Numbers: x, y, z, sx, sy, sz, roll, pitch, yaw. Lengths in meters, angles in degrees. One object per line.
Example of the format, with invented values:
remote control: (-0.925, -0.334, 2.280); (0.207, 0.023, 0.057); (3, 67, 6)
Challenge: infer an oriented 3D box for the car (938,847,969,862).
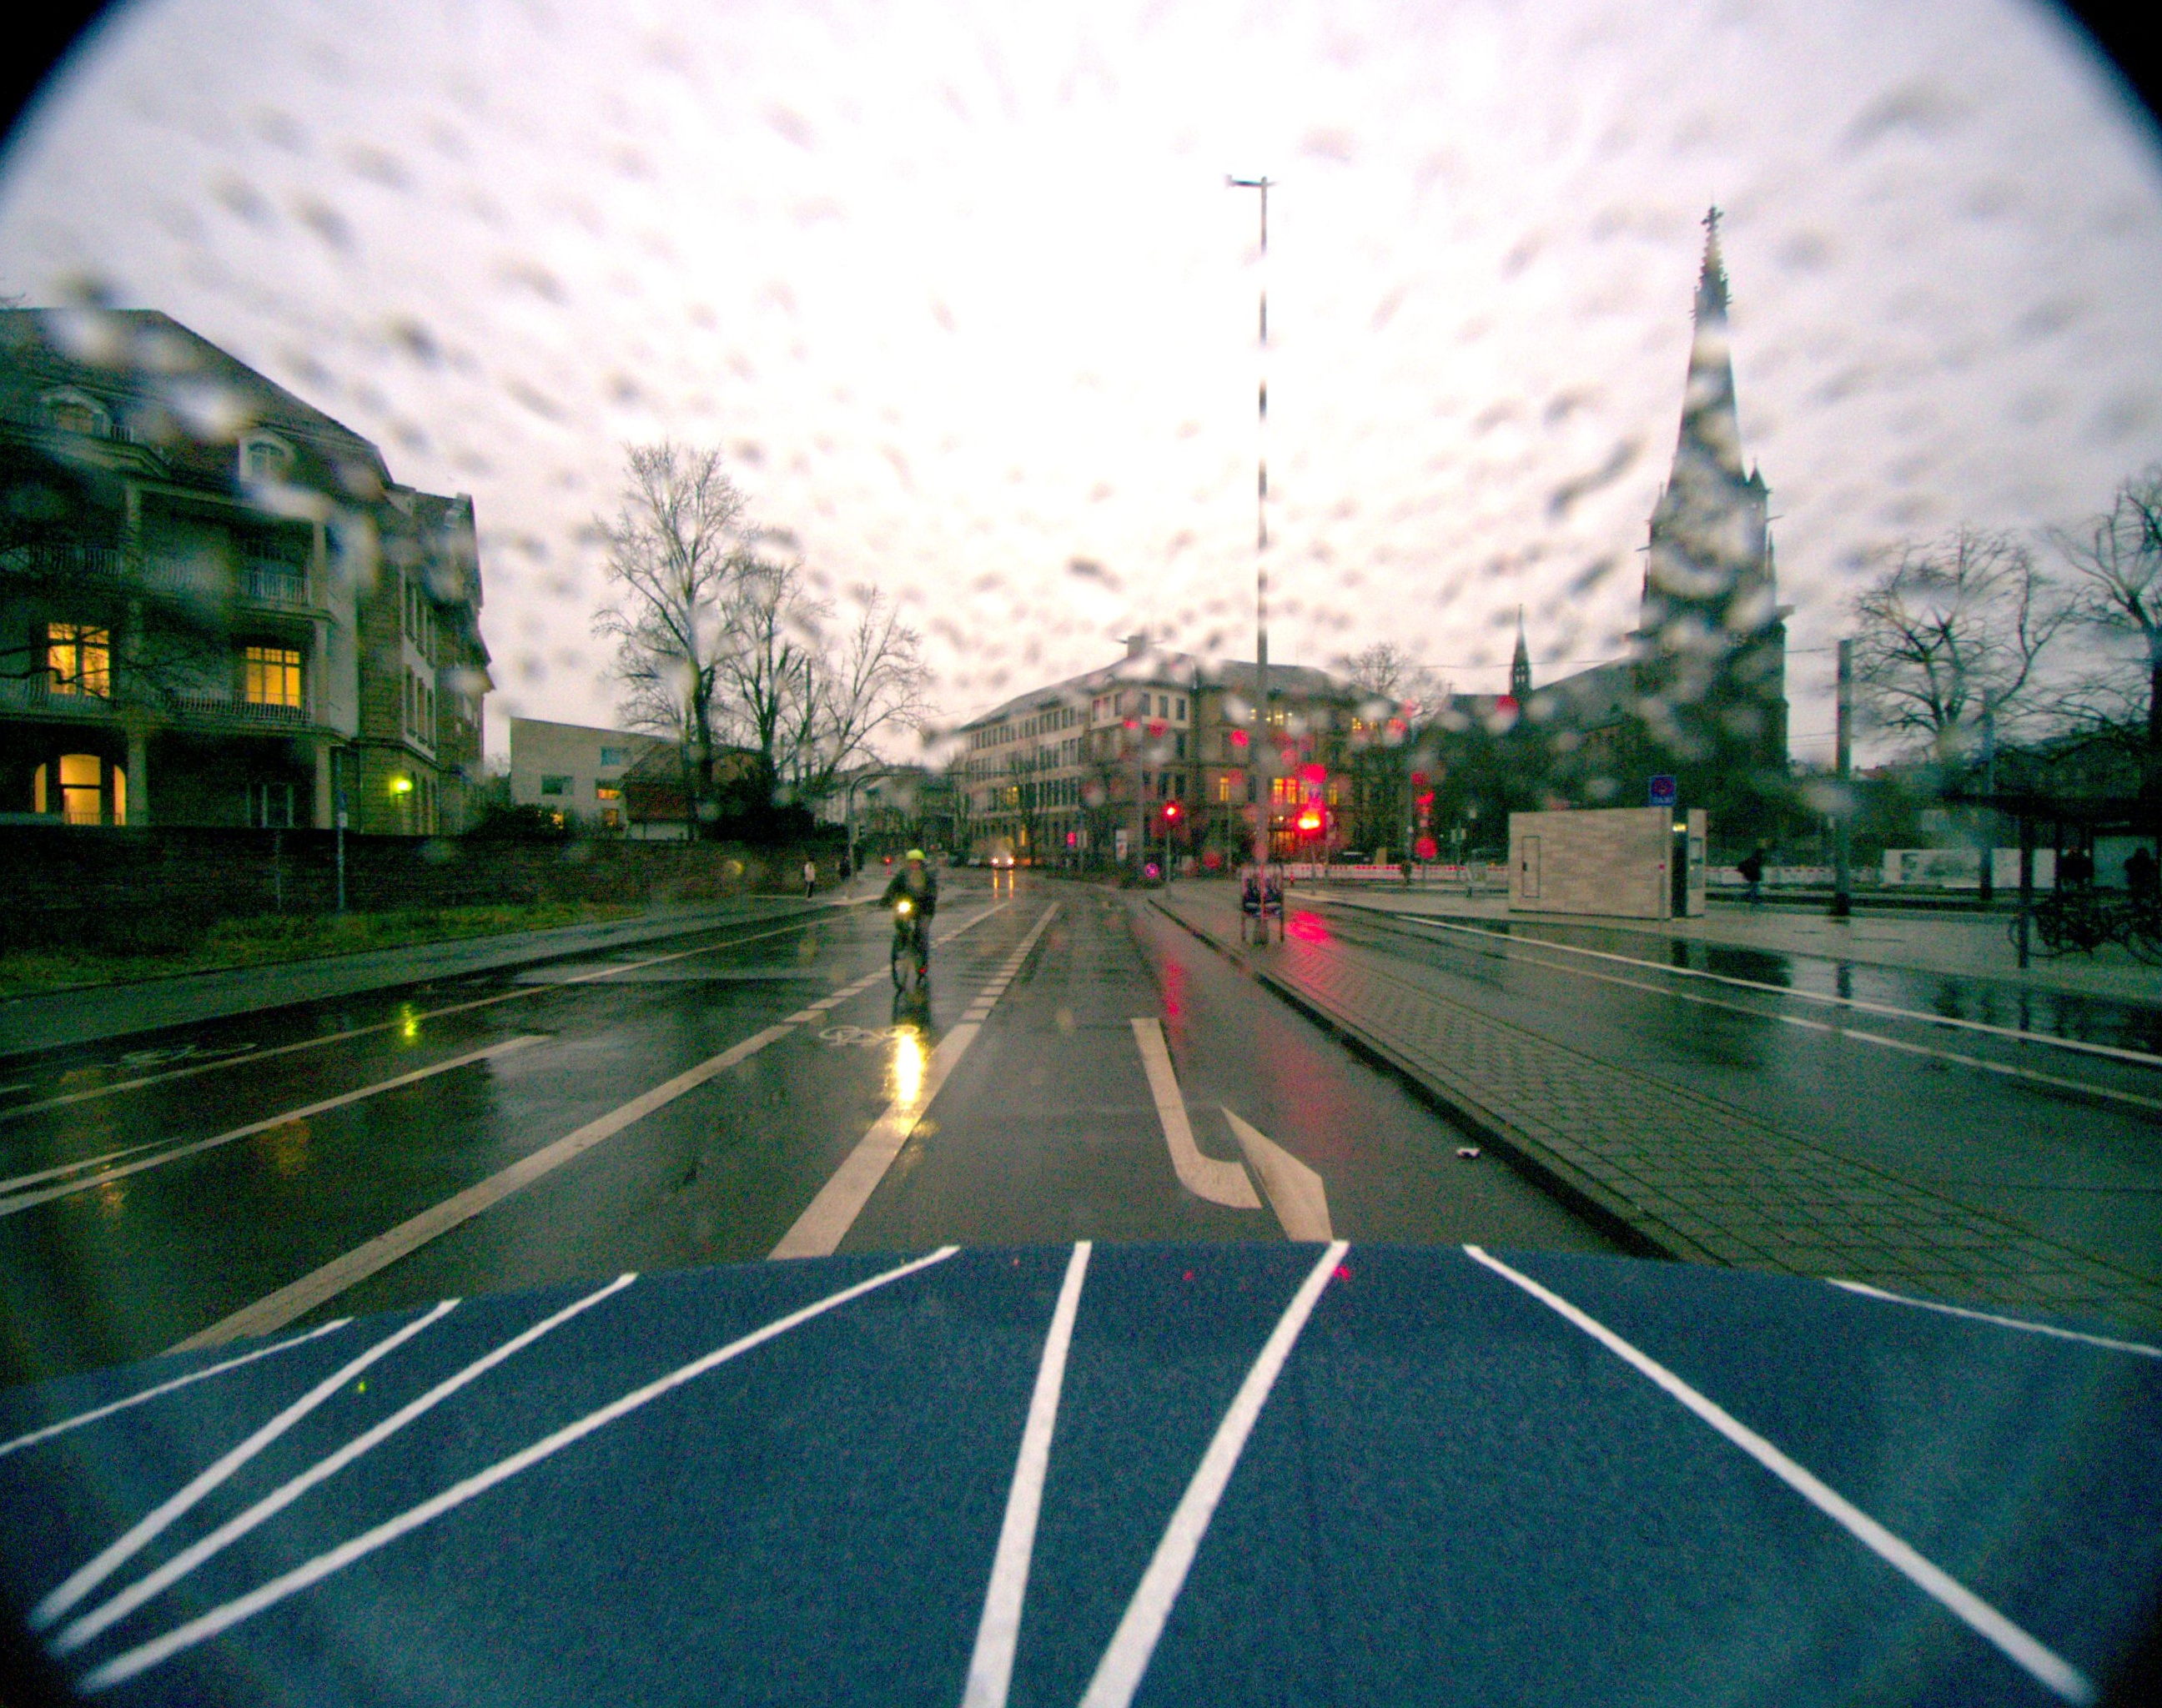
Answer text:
car: (-16.999, 0.066, 101.467); (2.043, 1.889, 4.007); (-2, 1, 28)

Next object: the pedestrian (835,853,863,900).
pedestrian: (-9.506, 0.933, 31.171); (1.000, 1.890, 0.673); (1, 1, -8)

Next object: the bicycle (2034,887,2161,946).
bicycle: (19.689, 1.171, 14.424); (0.475, 0.980, 1.921); (-2, 2, -30)

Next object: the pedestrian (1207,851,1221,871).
pedestrian: (11.889, 0.621, 67.827); (0.829, 1.714, 0.926); (0, 0, -31)

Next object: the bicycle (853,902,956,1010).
bicycle: (-2.175, 1.226, 9.664); (0.785, 1.069, 1.957); (-2, 1, 1)

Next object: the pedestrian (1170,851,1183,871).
pedestrian: (8.504, 0.639, 67.927); (0.675, 1.806, 0.895); (0, 1, -36)

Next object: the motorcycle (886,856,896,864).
motorcycle: (-25.997, 0.850, 104.011); (0.714, 1.048, 2.162); (0, 0, -34)

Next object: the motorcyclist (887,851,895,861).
motorcyclist: (-26.007, 0.311, 104.030); (0.702, 1.375, 0.864); (0, 0, -34)

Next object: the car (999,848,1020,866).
car: (-7.803, 0.295, 83.135); (1.883, 1.835, 3.999); (-2, 1, -1)

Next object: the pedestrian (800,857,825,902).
pedestrian: (-10.543, 0.988, 29.829); (0.799, 1.713, 0.673); (1, 1, -10)

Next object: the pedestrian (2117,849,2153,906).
pedestrian: (31.045, 0.694, 22.383); (0.541, 1.642, 0.562); (-3, 2, -41)

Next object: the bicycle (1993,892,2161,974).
bicycle: (15.496, 1.183, 11.607); (0.475, 1.064, 1.921); (-2, 2, -30)

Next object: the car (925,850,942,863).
car: (-20.740, 0.361, 106.842); (2.000, 1.660, 3.997); (-2, 1, -7)

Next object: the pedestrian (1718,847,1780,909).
pedestrian: (19.401, 0.689, 22.084); (1.013, 1.754, 1.065); (1, 0, -30)

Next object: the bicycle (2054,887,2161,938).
bicycle: (20.845, 1.163, 15.013); (0.475, 0.905, 1.921); (-2, 2, -30)

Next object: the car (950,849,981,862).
car: (-15.095, 0.191, 99.402); (1.797, 1.541, 4.007); (-2, 1, 28)

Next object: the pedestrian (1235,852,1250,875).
pedestrian: (13.156, 0.759, 61.991); (0.675, 1.890, 0.971); (0, 2, -42)

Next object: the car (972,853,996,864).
car: (-12.138, 0.566, 95.303); (1.706, 1.298, 3.647); (-2, 1, 16)

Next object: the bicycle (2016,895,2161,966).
bicycle: (16.614, 1.216, 12.212); (0.475, 0.980, 1.921); (-2, 2, -30)

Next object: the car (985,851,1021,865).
car: (-9.283, 0.473, 90.532); (1.797, 1.541, 4.007); (-1, 1, 45)

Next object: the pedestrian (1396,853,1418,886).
pedestrian: (17.352, 0.823, 40.413); (0.771, 1.651, 1.210); (-1, 1, 36)

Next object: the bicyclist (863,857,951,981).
bicyclist: (-2.175, 0.786, 9.668); (0.785, 1.444, 1.134); (-2, 1, 1)

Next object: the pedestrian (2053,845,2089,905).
pedestrian: (30.232, 0.645, 23.211); (0.673, 1.785, 0.626); (-3, 2, -41)
